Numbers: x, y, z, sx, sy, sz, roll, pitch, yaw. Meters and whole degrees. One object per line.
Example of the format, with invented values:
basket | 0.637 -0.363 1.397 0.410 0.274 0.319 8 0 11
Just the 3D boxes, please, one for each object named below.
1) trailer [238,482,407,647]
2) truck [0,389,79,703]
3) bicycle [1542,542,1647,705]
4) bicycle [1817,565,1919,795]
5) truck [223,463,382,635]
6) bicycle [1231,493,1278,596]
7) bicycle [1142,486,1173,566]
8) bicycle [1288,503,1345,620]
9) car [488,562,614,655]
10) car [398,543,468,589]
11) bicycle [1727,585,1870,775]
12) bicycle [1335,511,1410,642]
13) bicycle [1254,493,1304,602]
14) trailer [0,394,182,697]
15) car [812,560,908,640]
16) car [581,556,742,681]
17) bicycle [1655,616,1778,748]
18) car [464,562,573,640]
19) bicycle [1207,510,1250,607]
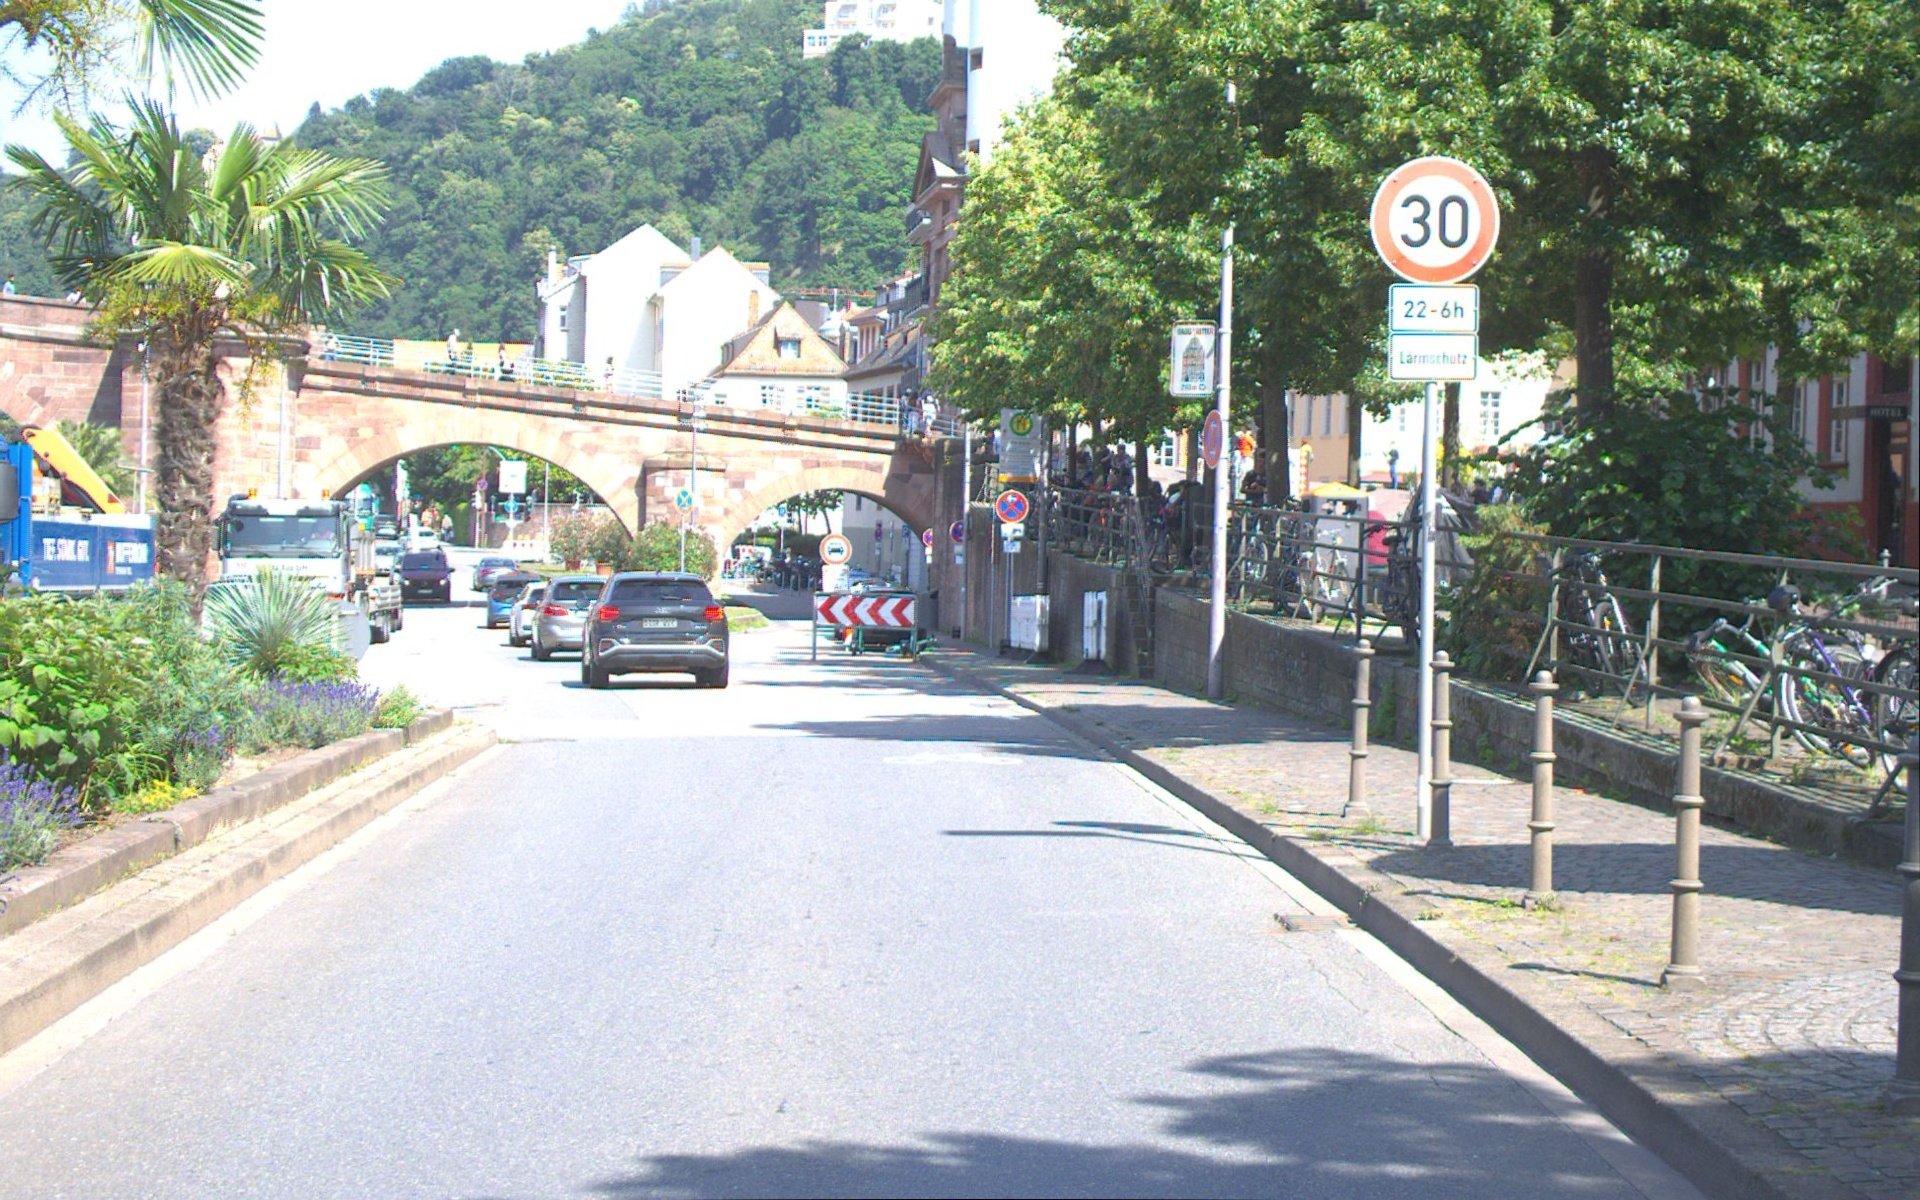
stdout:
trailer | -14.135 -0.878 76.903 2.657 3.391 10.170 1 1 -5
truck | -11.751 -0.644 38.602 2.657 3.391 4.450 1 1 -2
bicycle | 4.084 0.133 22.190 0.250 0.997 1.489 3 1 -4
bicycle | 4.367 0.351 16.010 0.250 1.007 1.489 1 1 -4
truck | -13.695 -1.092 71.926 2.657 3.391 5.136 1 1 -5
bicycle | 3.223 -0.610 37.676 0.250 1.092 1.489 3 1 -3
bicycle | 2.777 -1.036 48.373 0.356 1.092 1.488 3 1 3
bicycle | 3.450 -0.383 33.352 0.275 1.092 1.489 -3 1 -3
car | -7.762 0.128 65.592 1.993 1.548 4.833 1 2 -2
car | -19.500 -1.280 127.422 1.993 1.548 4.833 1 2 -2
bicycle | 4.277 0.389 17.598 0.250 0.901 1.489 1 1 -4
bicycle | 3.565 -0.215 29.785 0.345 1.092 1.489 3 1 -3
bicycle | 3.312 -0.550 35.751 0.250 1.092 1.489 3 1 -3
trailer | -11.933 -0.746 42.968 2.657 3.391 8.828 1 1 -2
car | -2.139 -0.024 74.616 1.720 1.590 3.894 2 1 3
car | -3.917 0.203 45.715 1.926 1.548 4.832 0 1 -3
bicycle | 4.201 0.443 19.152 0.250 0.661 1.469 1 1 -4
car | -9.948 -0.006 77.701 1.993 1.548 4.833 1 2 -2
bicycle | 3.098 -0.484 39.765 0.250 1.092 1.489 3 1 -3
